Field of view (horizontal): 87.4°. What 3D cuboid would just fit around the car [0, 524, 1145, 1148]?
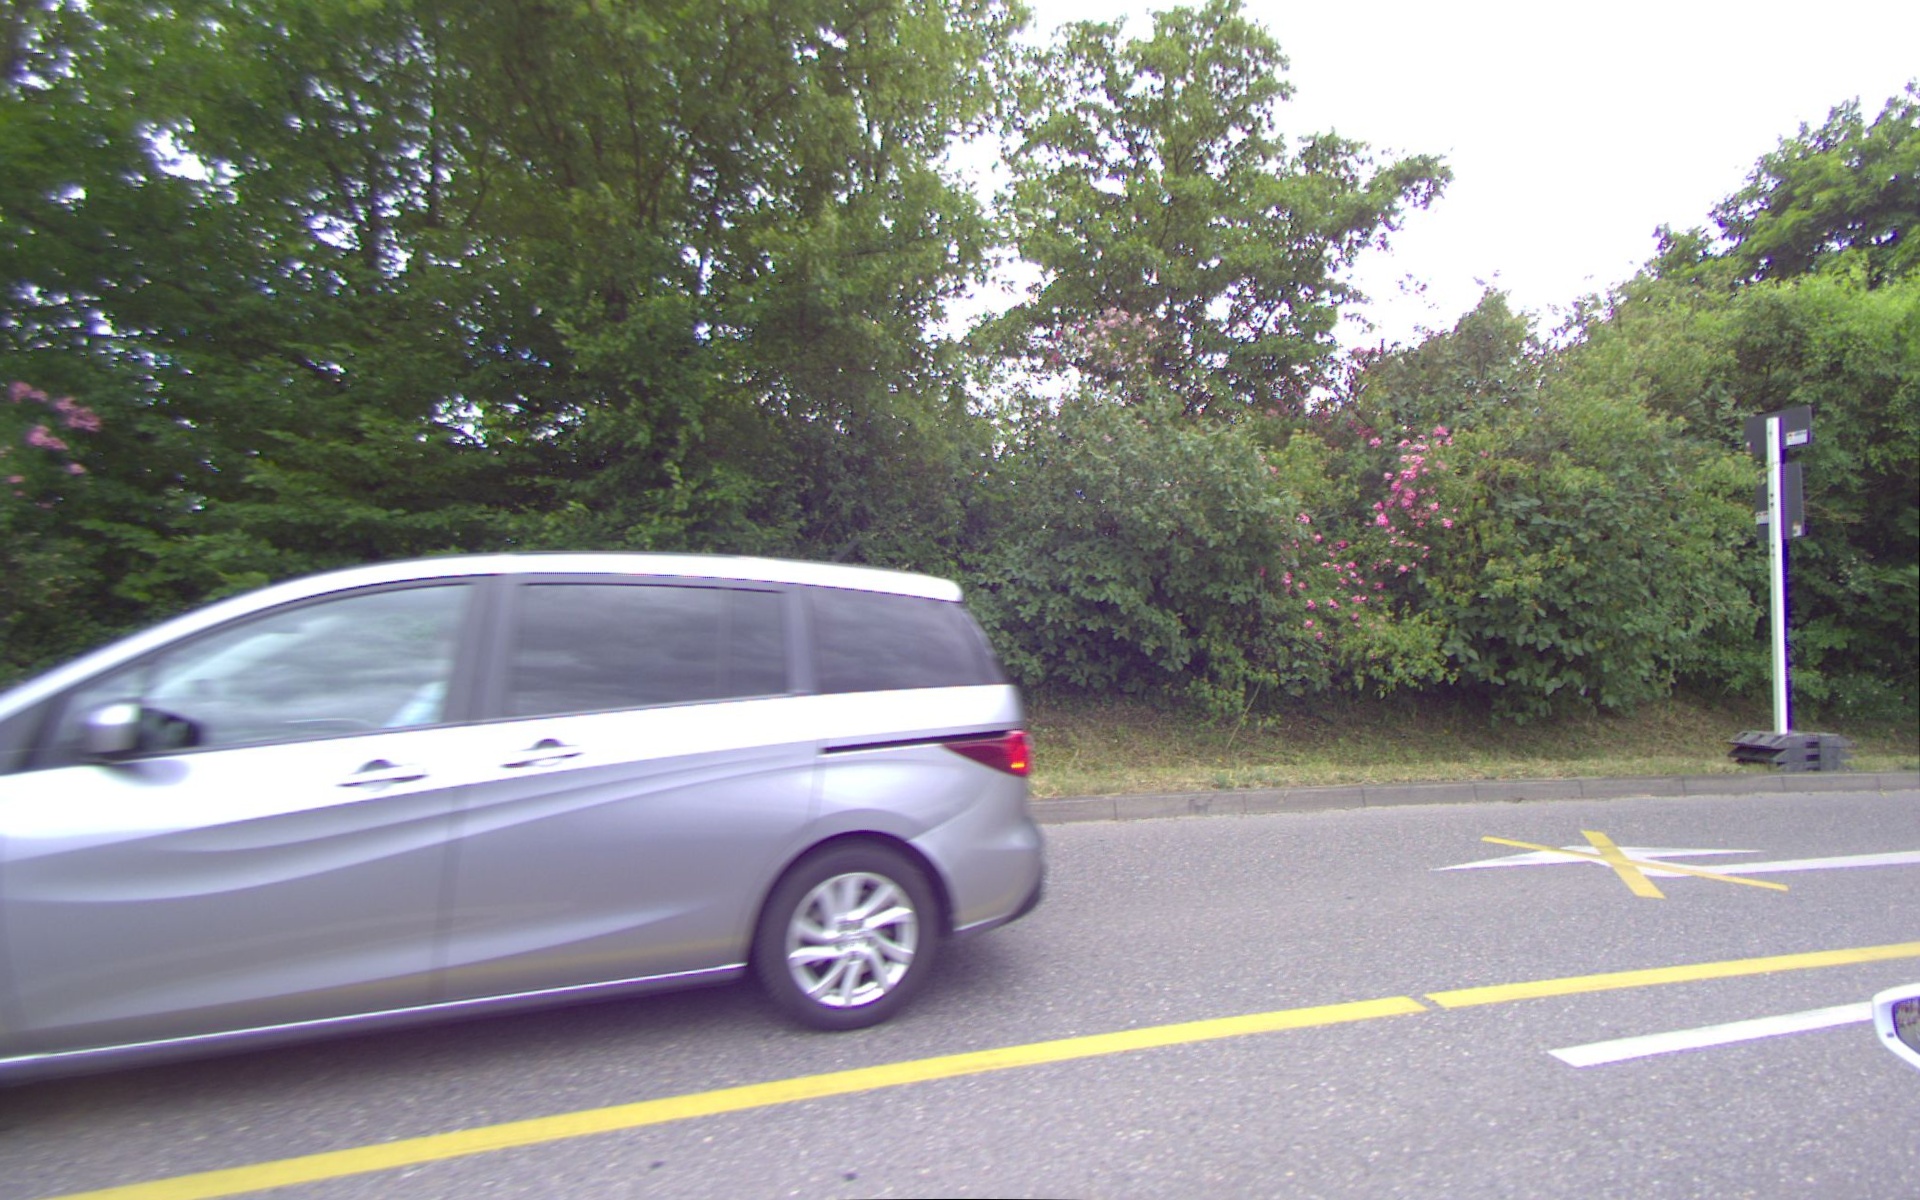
[{"bbox_3d":[-1.625,0.613,3.674,4.285,1.565,1.630,1,0,-20],"label":"car"}]
